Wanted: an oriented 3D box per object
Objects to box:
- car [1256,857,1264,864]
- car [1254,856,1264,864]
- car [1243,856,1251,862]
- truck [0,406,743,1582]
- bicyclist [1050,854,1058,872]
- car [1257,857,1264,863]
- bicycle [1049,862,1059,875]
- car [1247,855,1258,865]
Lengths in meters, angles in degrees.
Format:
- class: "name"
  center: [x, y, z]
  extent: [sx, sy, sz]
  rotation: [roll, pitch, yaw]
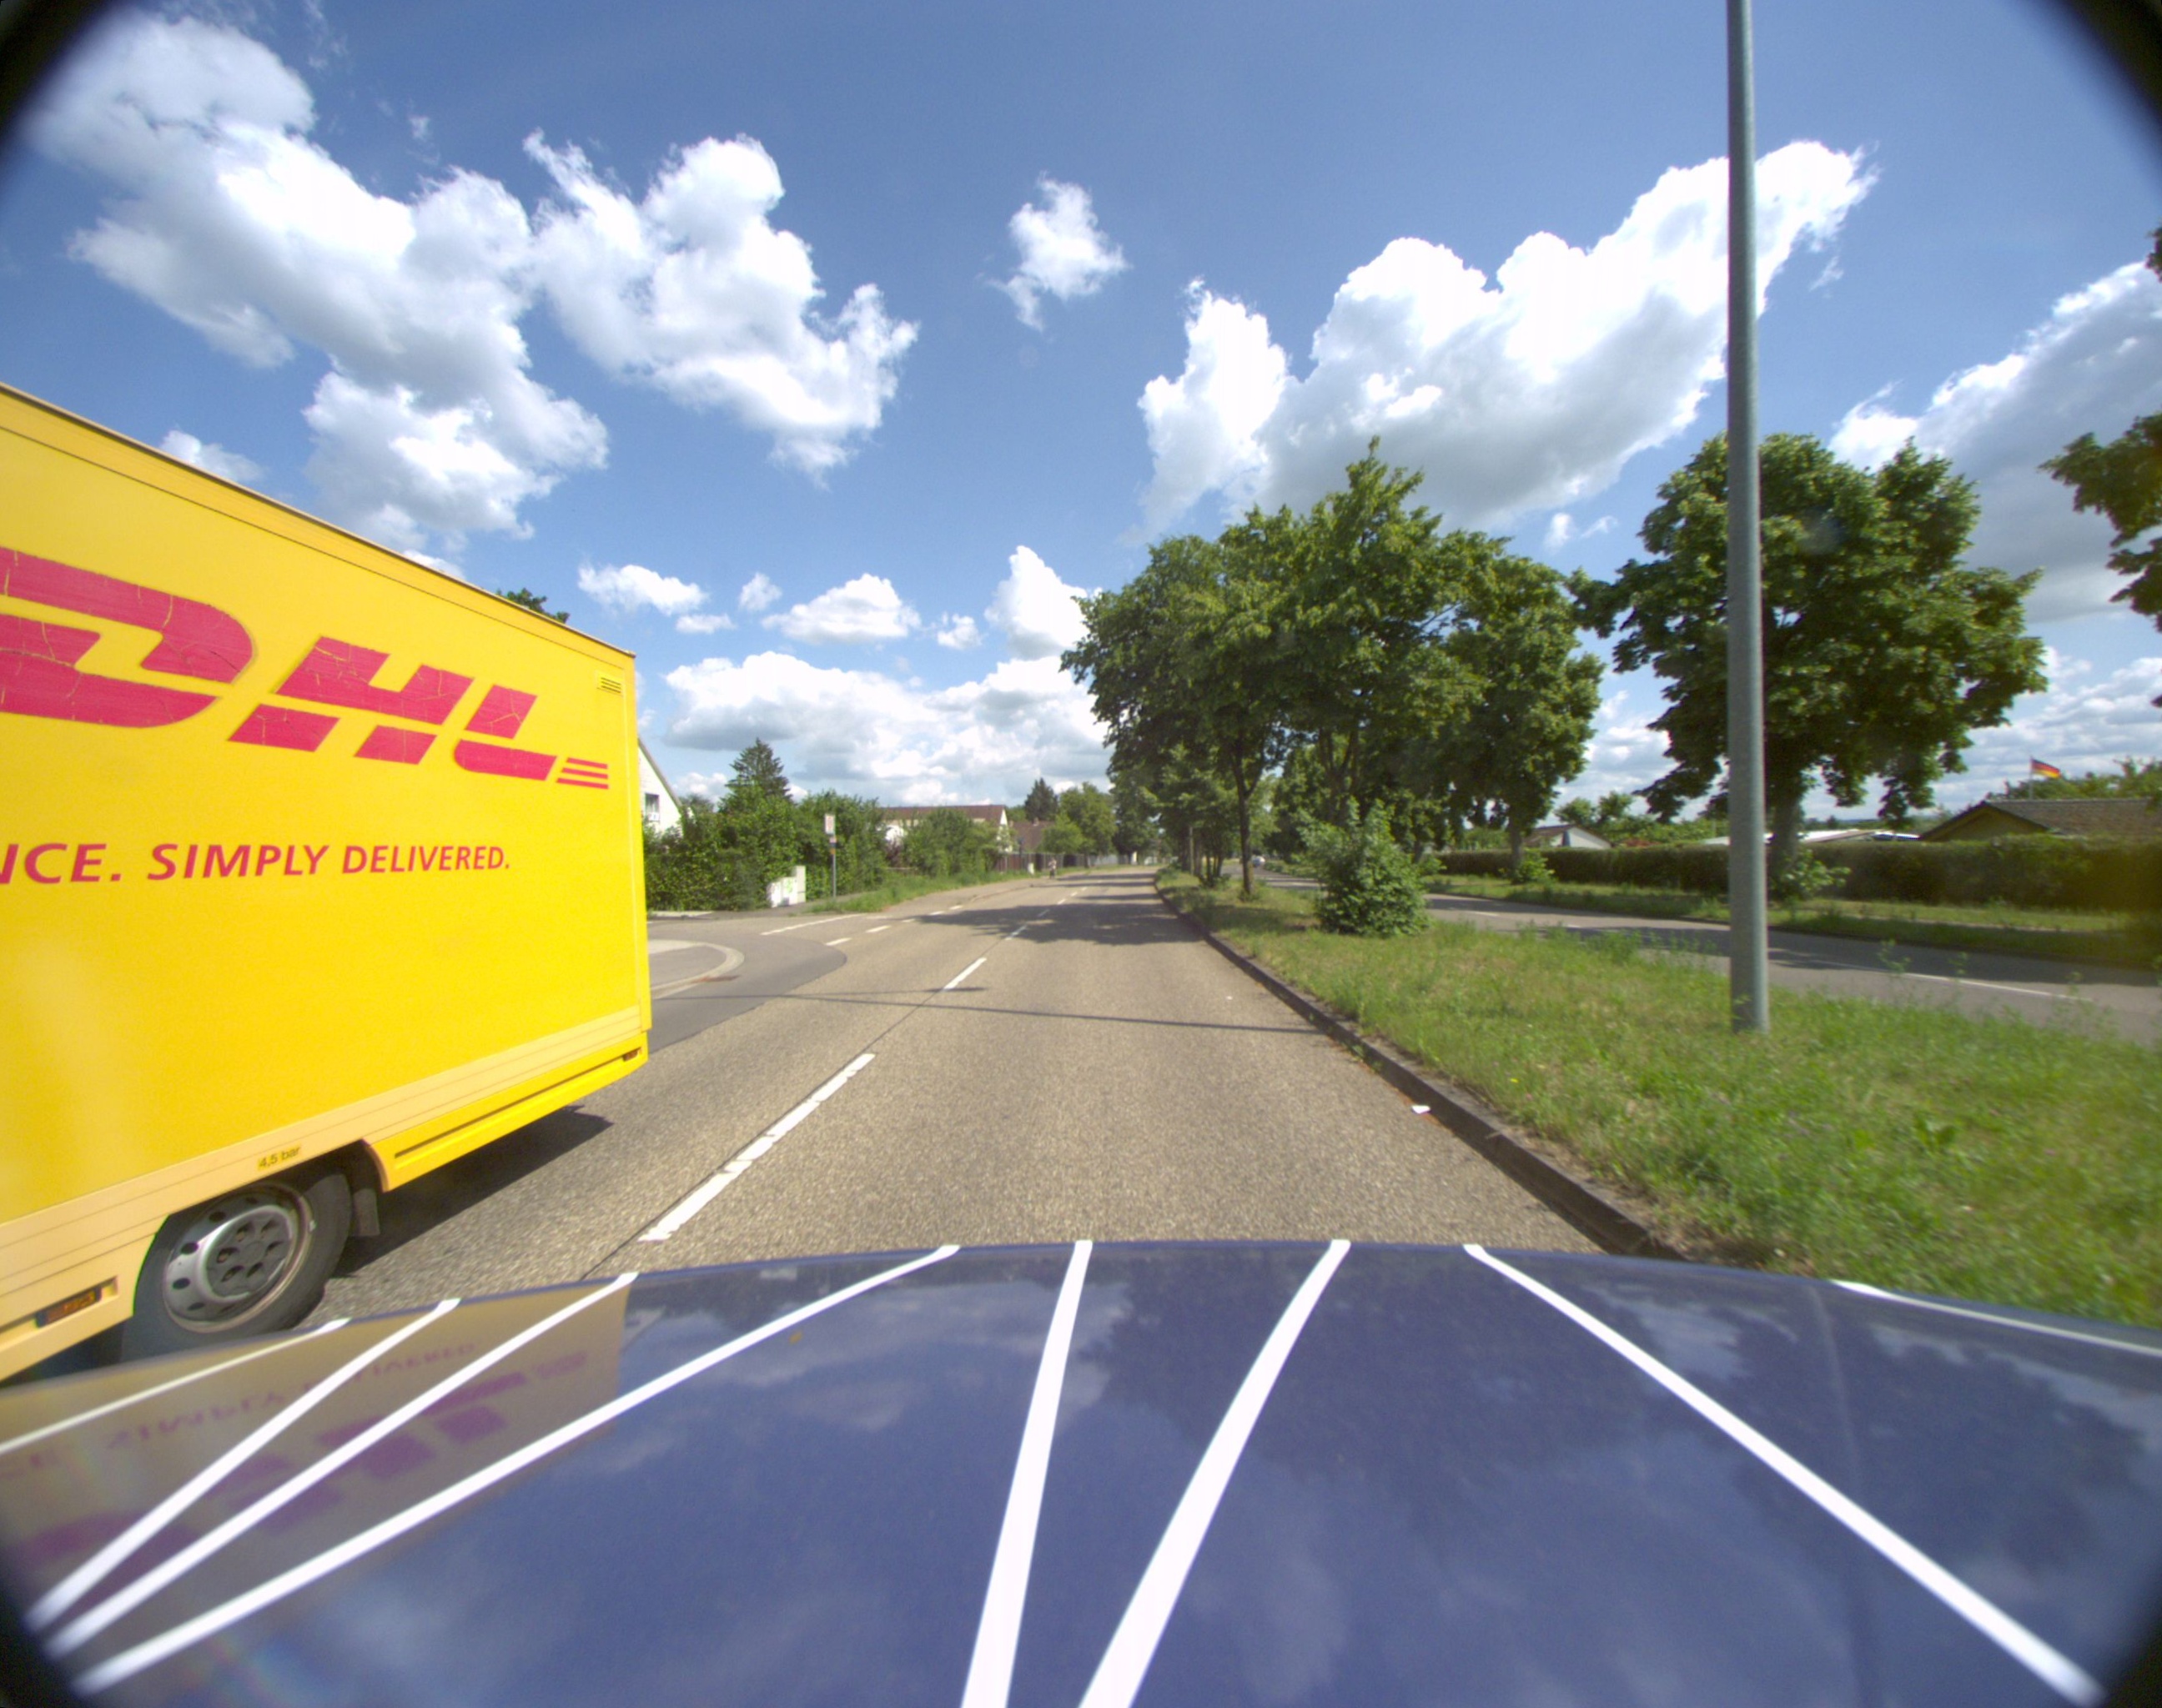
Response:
- class: "car"
  center: [40.180, 1.477, 170.663]
  extent: [1.739, 1.577, 4.117]
  rotation: [1, 0, 15]
- class: "car"
  center: [37.012, 1.285, 157.841]
  extent: [1.739, 1.577, 4.117]
  rotation: [1, 0, 15]
- class: "car"
  center: [41.315, 1.247, 188.885]
  extent: [1.739, 1.577, 4.117]
  rotation: [1, 0, 15]
- class: "truck"
  center: [-3.779, 0.356, 1.734]
  extent: [2.270, 2.863, 8.028]
  rotation: [-2, 0, 0]
- class: "bicyclist"
  center: [-2.360, 0.804, 66.902]
  extent: [0.620, 1.625, 0.700]
  rotation: [-1, 0, 6]
- class: "car"
  center: [48.608, 1.502, 205.934]
  extent: [1.739, 1.577, 4.117]
  rotation: [1, 0, 15]
- class: "bicycle"
  center: [-2.367, 1.244, 66.779]
  extent: [0.626, 1.145, 1.740]
  rotation: [-1, 0, 6]
- class: "car"
  center: [27.830, 0.921, 123.479]
  extent: [1.739, 1.577, 4.116]
  rotation: [1, 0, 12]
